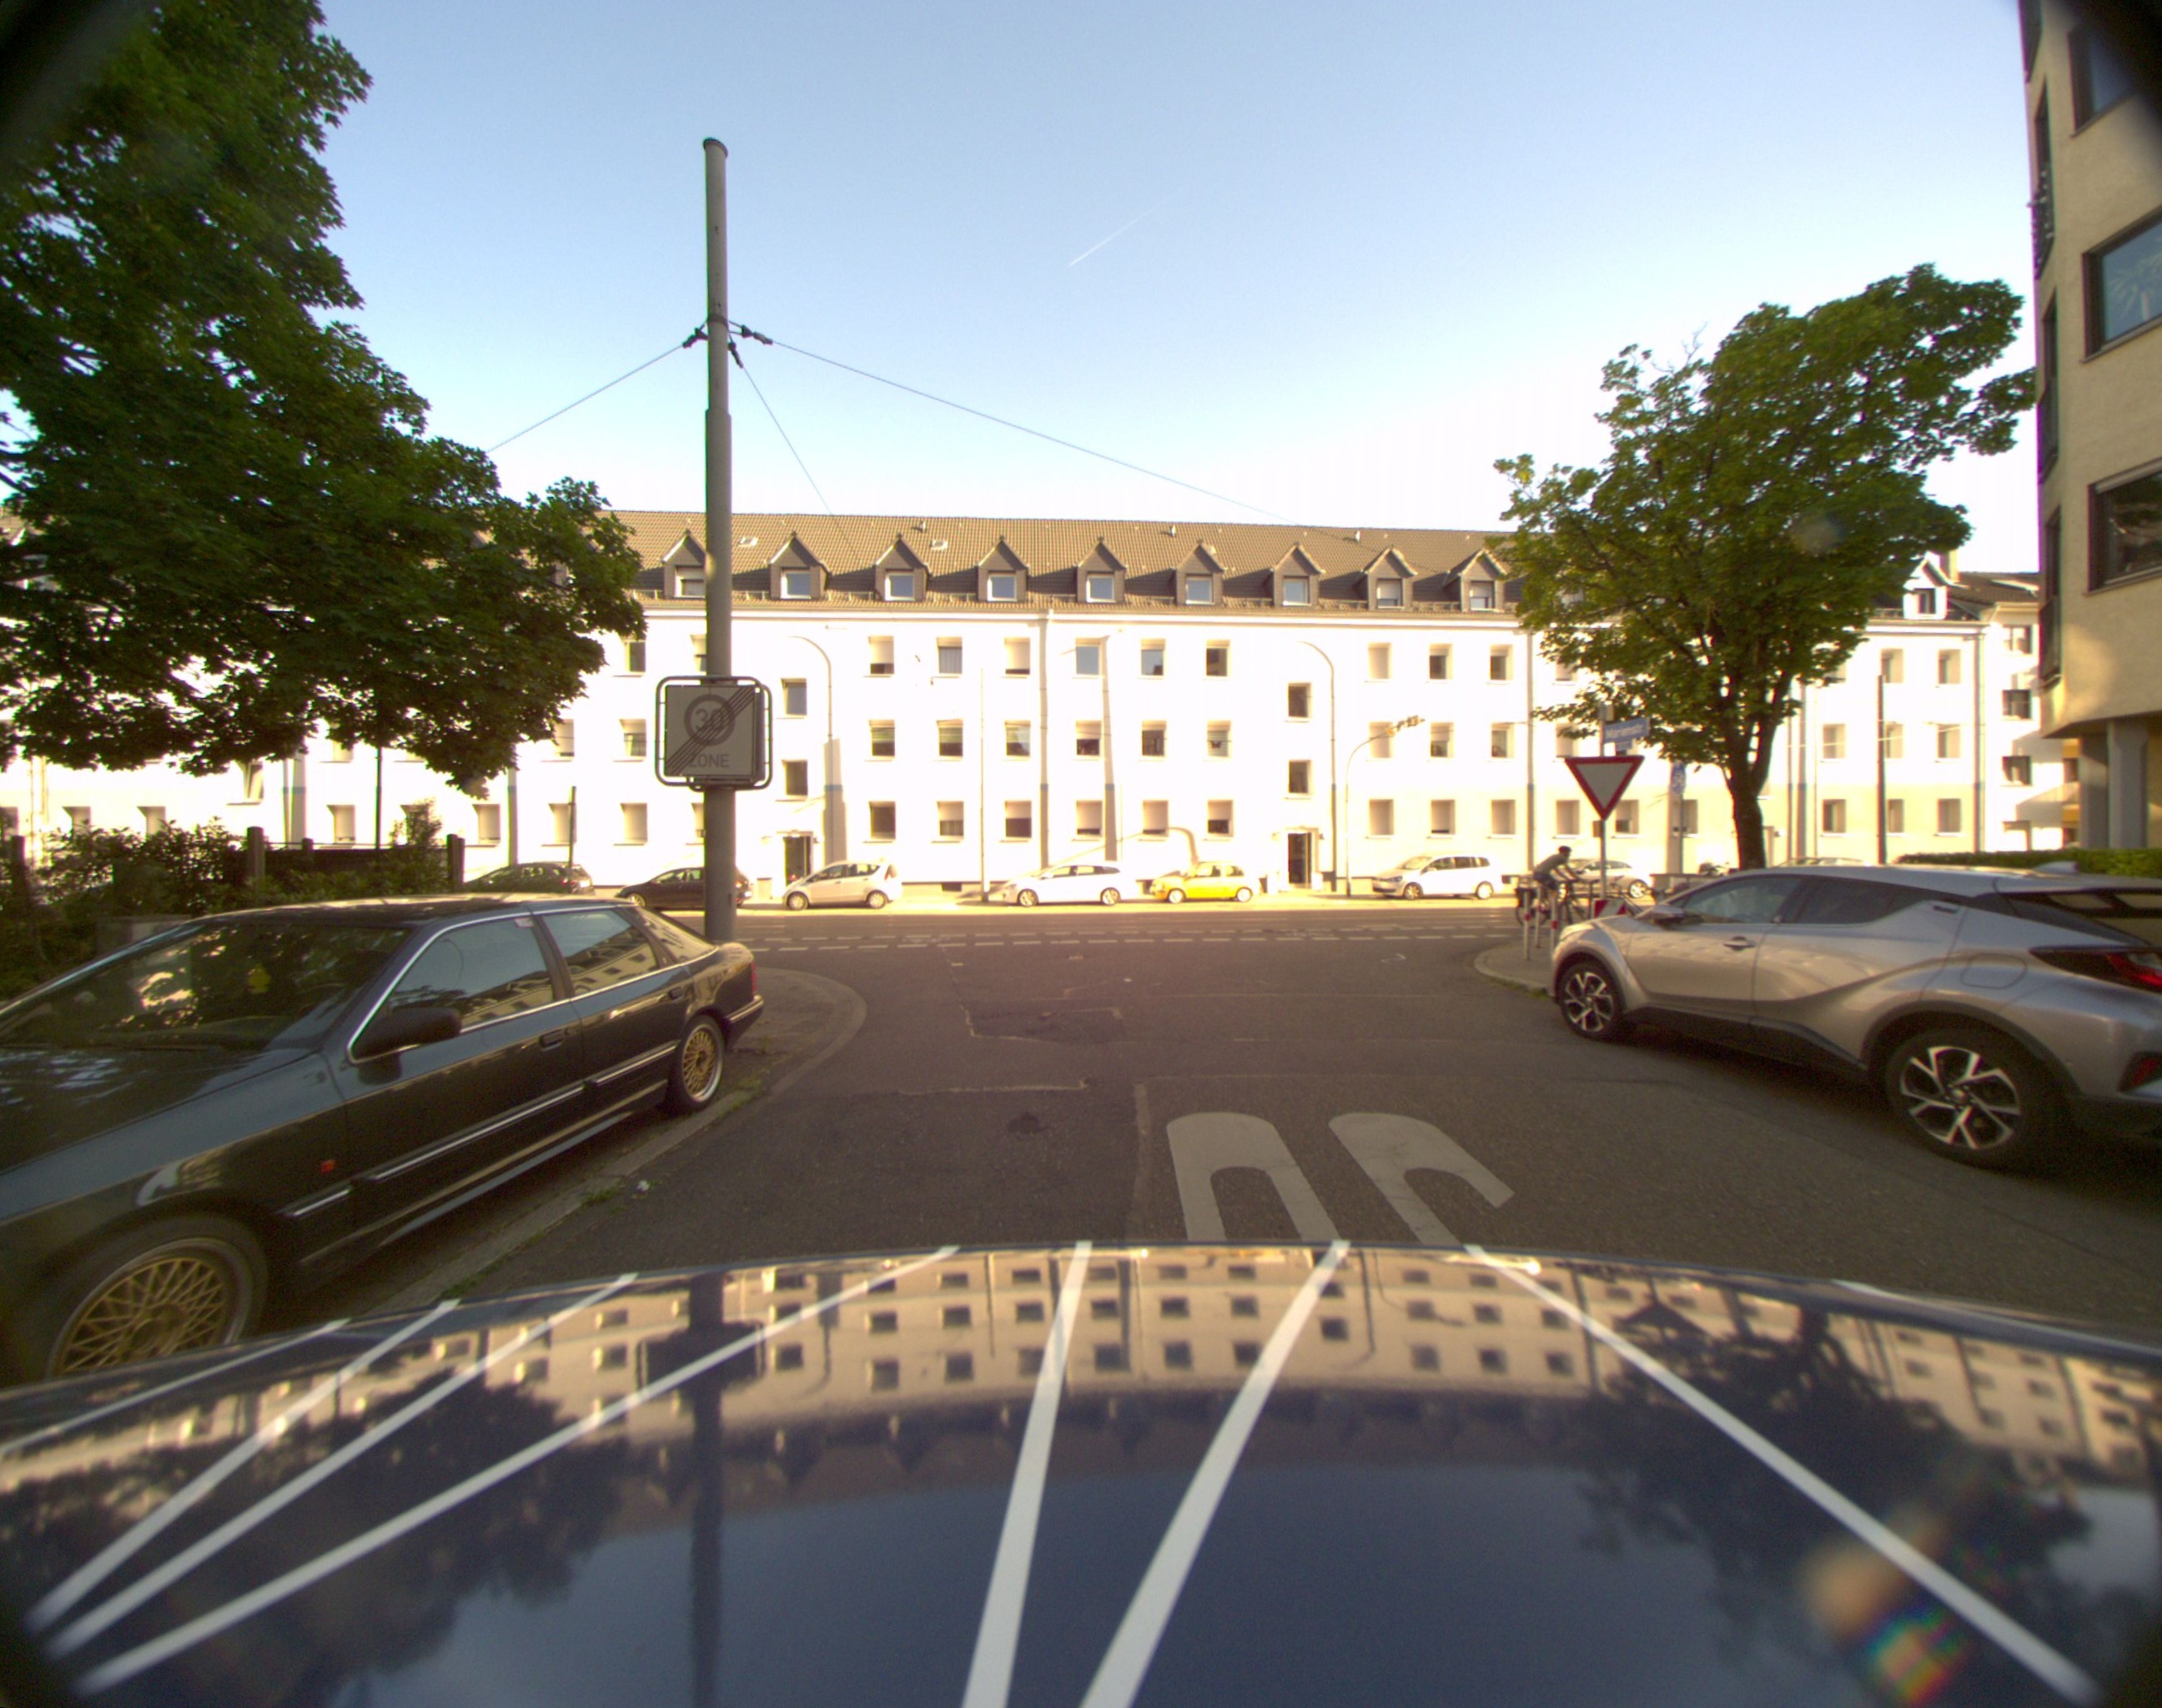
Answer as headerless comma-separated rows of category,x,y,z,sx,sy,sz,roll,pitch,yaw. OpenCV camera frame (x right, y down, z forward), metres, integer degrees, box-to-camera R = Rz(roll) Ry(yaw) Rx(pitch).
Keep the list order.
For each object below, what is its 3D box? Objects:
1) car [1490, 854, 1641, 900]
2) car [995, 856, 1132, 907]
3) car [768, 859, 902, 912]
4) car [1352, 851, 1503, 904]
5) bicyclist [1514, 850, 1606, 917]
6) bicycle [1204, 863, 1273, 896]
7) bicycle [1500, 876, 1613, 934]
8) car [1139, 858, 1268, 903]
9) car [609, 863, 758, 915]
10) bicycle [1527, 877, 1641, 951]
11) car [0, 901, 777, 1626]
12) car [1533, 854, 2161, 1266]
car,17.619,0.818,27.764,4.364,1.546,1.869,-1,2,-3
car,-0.625,0.909,25.966,4.508,1.562,1.684,-1,2,-4
car,-8.169,1.017,25.466,3.902,1.563,1.758,-1,4,-3
car,12.300,0.805,27.114,4.625,1.657,1.758,-1,4,-7
bicyclist,9.837,0.578,15.653,1.095,1.323,1.186,-1,0,-6
bicycle,5.966,0.940,28.913,2.326,1.190,1.099,-1,0,-6
bicycle,9.749,1.038,15.606,1.960,1.095,0.624,-1,2,-5
car,4.232,0.894,26.481,4.200,1.422,1.517,-1,1,-5
car,-13.010,1.123,25.063,4.005,1.529,1.596,0,2,-3
bicycle,8.302,0.948,12.643,0.595,1.078,1.882,-1,0,-2
car,-3.232,1.058,3.374,1.712,1.380,4.570,0,0,3
car,5.263,0.863,5.062,1.909,1.650,3.998,1,0,-4
